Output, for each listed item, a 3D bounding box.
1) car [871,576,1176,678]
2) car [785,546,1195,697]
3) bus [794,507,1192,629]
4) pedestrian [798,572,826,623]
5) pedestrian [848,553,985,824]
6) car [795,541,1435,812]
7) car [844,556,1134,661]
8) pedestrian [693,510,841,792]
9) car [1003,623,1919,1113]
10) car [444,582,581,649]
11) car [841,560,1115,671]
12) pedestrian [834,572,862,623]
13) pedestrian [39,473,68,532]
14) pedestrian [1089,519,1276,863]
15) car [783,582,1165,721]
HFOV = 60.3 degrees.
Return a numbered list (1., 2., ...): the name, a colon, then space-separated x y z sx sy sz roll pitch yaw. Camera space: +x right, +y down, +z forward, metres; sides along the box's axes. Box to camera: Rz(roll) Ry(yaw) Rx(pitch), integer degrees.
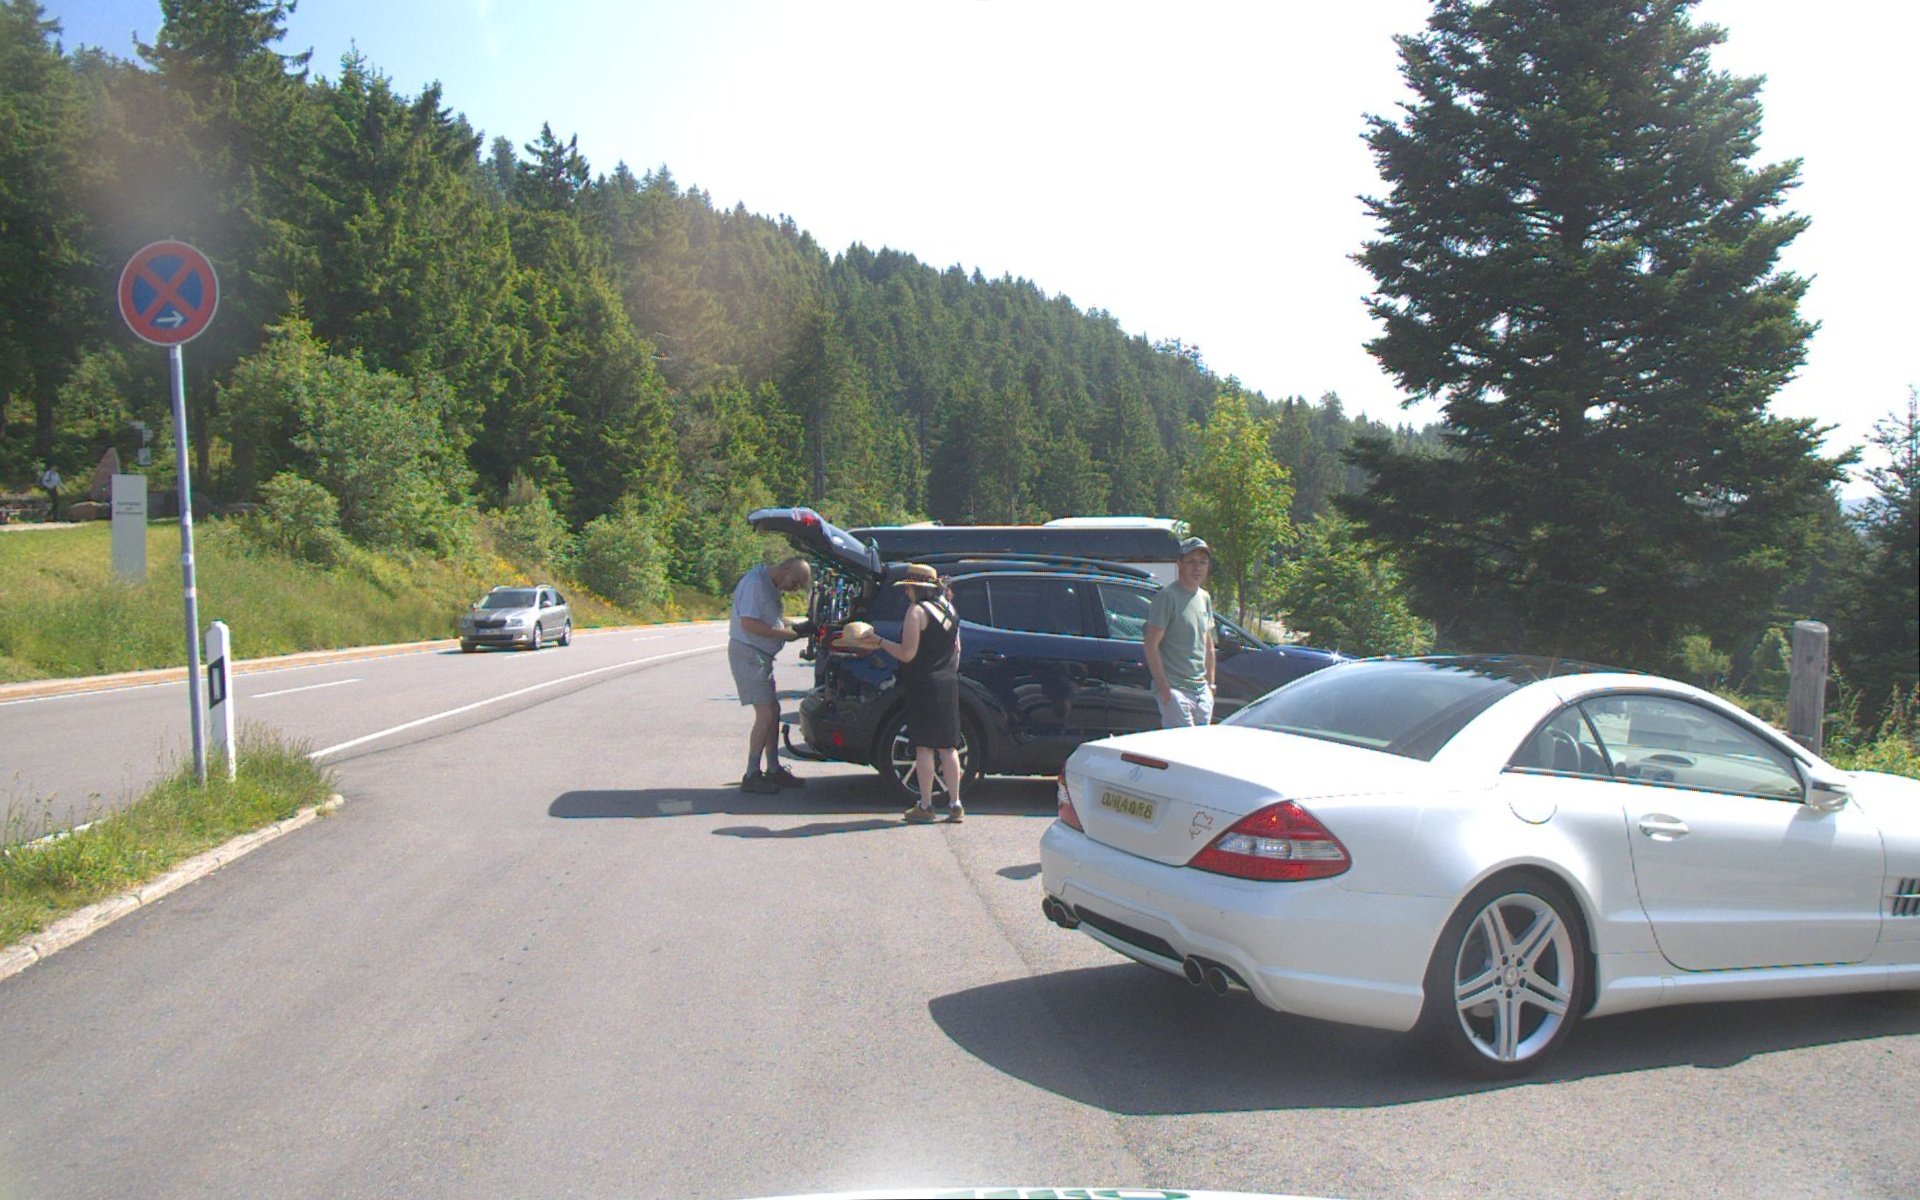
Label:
1. car: 0.846 0.361 23.521 4.159 1.291 1.837 -1 1 -2
2. car: 0.360 0.244 20.617 4.848 1.725 1.945 -1 1 0
3. bus: 1.156 -1.011 54.700 12.814 3.594 3.046 -1 0 8
4. pedestrian: -4.745 -0.071 53.162 0.754 1.612 0.773 -1 0 4
5. pedestrian: -0.275 0.540 10.419 0.704 1.641 0.533 1 -1 -23
6. car: 1.004 0.538 11.975 4.262 1.654 1.867 2 -1 -8
7. car: 0.475 0.128 29.308 4.933 1.680 2.047 -1 1 -2
8. pedestrian: -1.358 0.324 11.680 0.721 1.903 0.757 2 3 28
9. car: 2.499 0.831 6.438 4.342 1.318 1.742 2 1 -26
10. car: -10.556 0.316 39.400 1.840 1.500 4.715 0 1 2
11. car: 0.246 0.224 26.181 4.159 1.581 1.837 -1 1 -2
12. pedestrian: -3.587 -0.093 53.078 0.754 1.612 0.773 -1 0 4
13. pedestrian: -29.777 -3.202 54.328 0.668 1.910 0.541 -1 1 30
14. pedestrian: 1.252 0.488 9.335 0.739 1.831 0.727 1 -1 -34
15. car: 0.098 0.551 18.333 4.005 1.400 1.699 1 0 -9
